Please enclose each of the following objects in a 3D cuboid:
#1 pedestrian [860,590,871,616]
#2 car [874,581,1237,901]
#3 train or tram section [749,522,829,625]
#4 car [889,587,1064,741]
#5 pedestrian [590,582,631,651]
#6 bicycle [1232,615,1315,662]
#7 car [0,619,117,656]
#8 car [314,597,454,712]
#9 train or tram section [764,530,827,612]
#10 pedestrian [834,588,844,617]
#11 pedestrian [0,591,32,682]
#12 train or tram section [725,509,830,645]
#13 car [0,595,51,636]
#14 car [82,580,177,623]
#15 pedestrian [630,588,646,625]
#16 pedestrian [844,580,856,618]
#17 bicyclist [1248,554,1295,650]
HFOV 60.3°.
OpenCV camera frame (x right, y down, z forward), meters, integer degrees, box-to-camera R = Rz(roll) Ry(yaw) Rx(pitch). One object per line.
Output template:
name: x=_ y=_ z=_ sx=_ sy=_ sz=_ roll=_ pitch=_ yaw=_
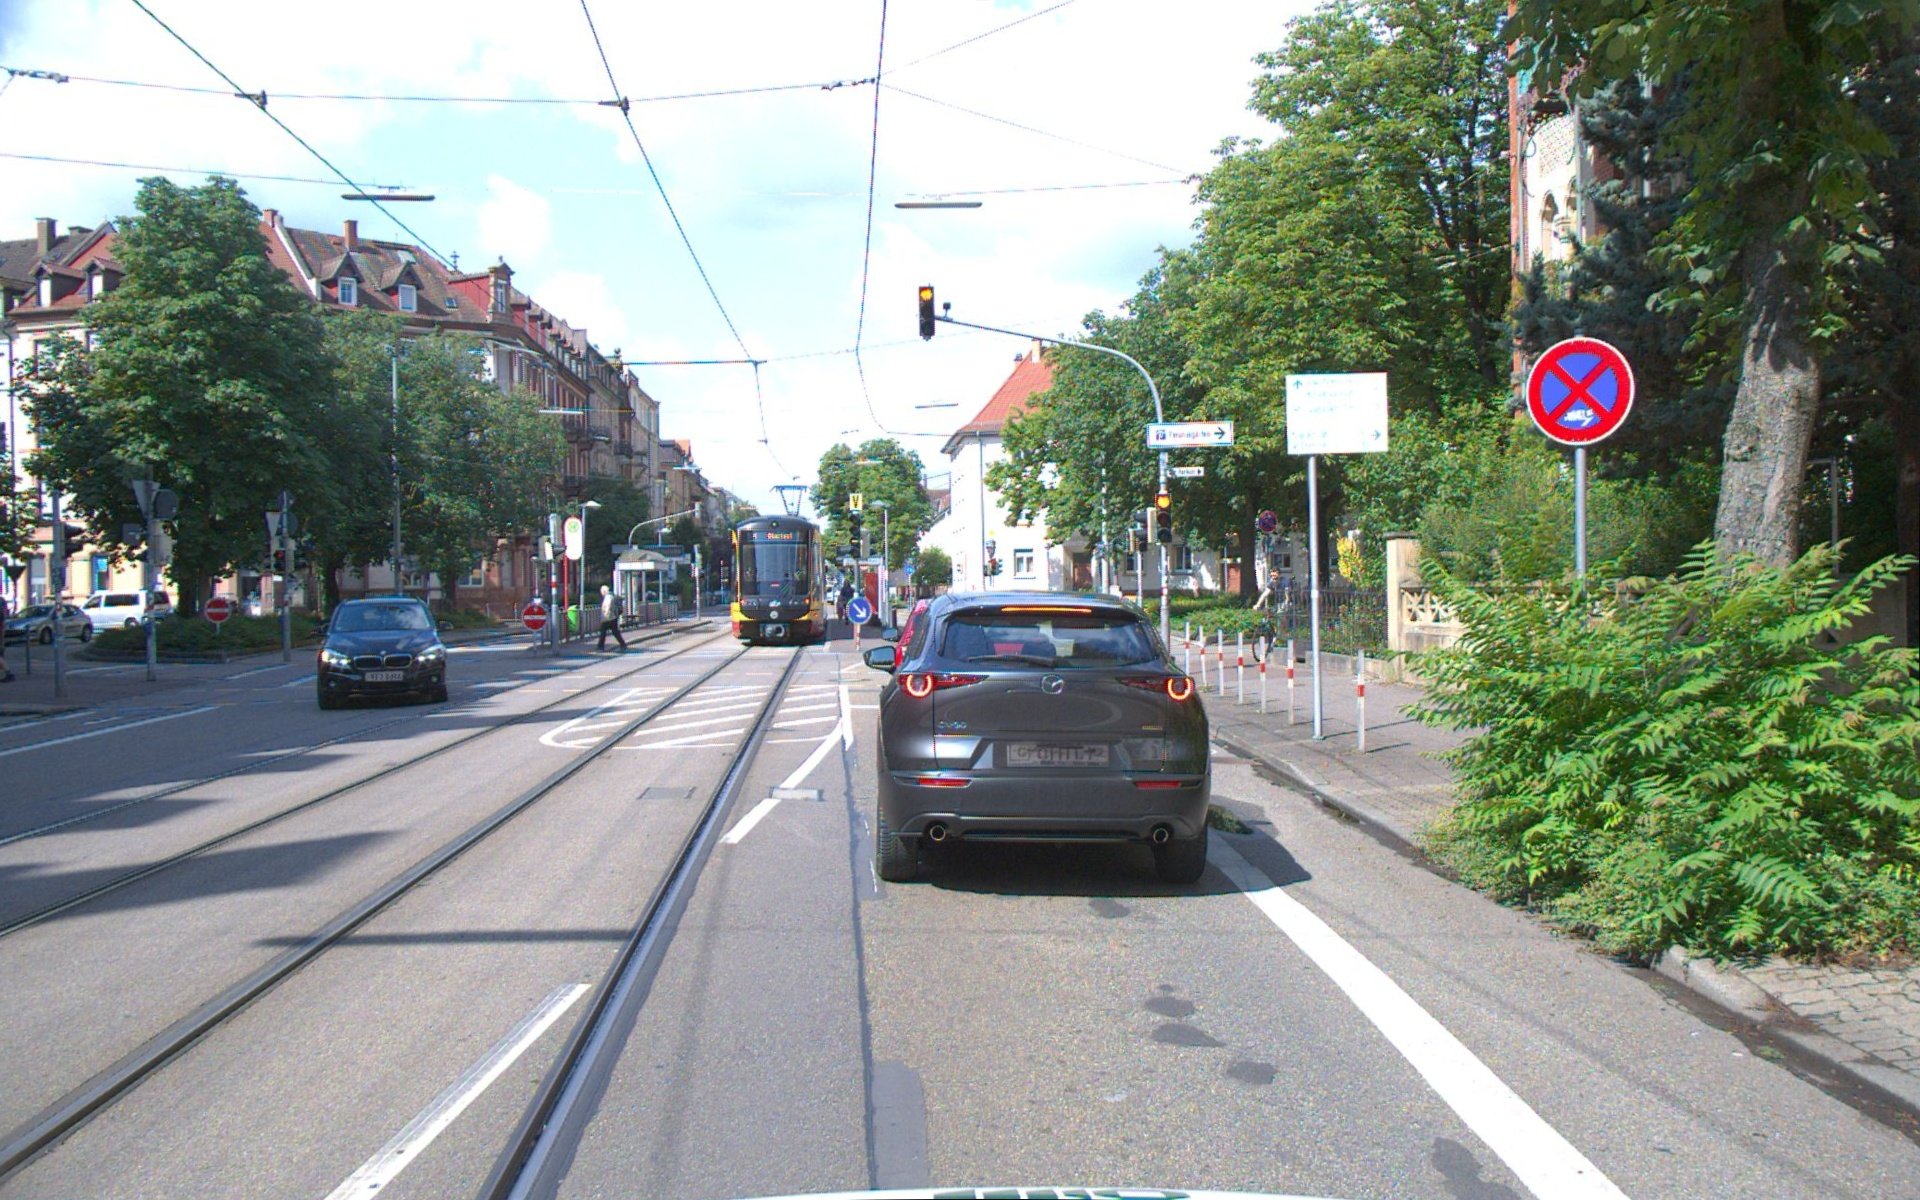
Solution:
pedestrian: x=-3.661 y=0.103 z=64.104 sx=0.372 sy=1.001 sz=0.474 roll=-1 pitch=0 yaw=-6
car: x=0.426 y=0.672 z=10.035 sx=1.742 sy=1.526 sz=3.999 roll=1 pitch=0 yaw=-1
train or tram section: x=-6.582 y=-1.083 z=65.130 sx=2.699 sy=3.551 sz=14.395 roll=-1 pitch=1 yaw=-5
car: x=0.125 y=0.630 z=18.637 sx=1.742 sy=1.526 sz=3.999 roll=1 pitch=0 yaw=-1
pedestrian: x=-8.948 y=0.411 z=42.328 sx=0.701 sy=1.735 sz=0.824 roll=-1 pitch=0 yaw=15
bicycle: x=6.061 y=0.736 z=31.944 sx=1.677 sy=0.838 sz=0.489 roll=-1 pitch=0 yaw=-32
car: x=-33.173 y=1.364 z=60.766 sx=1.637 sy=1.203 sz=4.003 roll=-1 pitch=0 yaw=16
car: x=-8.568 y=0.739 z=24.861 sx=1.727 sy=1.545 sz=4.051 roll=-1 pitch=0 yaw=-16
train or tram section: x=-7.785 y=-1.425 z=79.484 sx=2.699 sy=3.551 sz=14.395 roll=-1 pitch=1 yaw=-5
pedestrian: x=-4.618 y=0.102 z=63.191 sx=0.372 sy=1.089 sz=0.474 roll=-1 pitch=0 yaw=-4
pedestrian: x=-18.279 y=0.686 z=31.511 sx=0.735 sy=1.713 sz=0.701 roll=-1 pitch=0 yaw=8
train or tram section: x=-5.398 y=-0.770 z=50.775 sx=2.699 sy=3.551 sz=14.395 roll=-1 pitch=1 yaw=-5
car: x=-39.320 y=0.652 z=66.953 sx=3.906 sy=1.624 sz=2.000 roll=-1 pitch=0 yaw=-1
car: x=-39.671 y=0.072 z=78.995 sx=3.906 sy=1.937 sz=1.999 roll=-1 pitch=0 yaw=23
pedestrian: x=-12.528 y=0.256 z=64.407 sx=0.420 sy=1.423 sz=0.397 roll=-1 pitch=0 yaw=30
pedestrian: x=-4.244 y=-0.032 z=63.700 sx=0.441 sy=1.459 sz=0.474 roll=-1 pitch=0 yaw=-6
bicyclist: x=6.010 y=0.037 z=31.921 sx=0.601 sy=1.824 sz=0.651 roll=-1 pitch=0 yaw=-30
